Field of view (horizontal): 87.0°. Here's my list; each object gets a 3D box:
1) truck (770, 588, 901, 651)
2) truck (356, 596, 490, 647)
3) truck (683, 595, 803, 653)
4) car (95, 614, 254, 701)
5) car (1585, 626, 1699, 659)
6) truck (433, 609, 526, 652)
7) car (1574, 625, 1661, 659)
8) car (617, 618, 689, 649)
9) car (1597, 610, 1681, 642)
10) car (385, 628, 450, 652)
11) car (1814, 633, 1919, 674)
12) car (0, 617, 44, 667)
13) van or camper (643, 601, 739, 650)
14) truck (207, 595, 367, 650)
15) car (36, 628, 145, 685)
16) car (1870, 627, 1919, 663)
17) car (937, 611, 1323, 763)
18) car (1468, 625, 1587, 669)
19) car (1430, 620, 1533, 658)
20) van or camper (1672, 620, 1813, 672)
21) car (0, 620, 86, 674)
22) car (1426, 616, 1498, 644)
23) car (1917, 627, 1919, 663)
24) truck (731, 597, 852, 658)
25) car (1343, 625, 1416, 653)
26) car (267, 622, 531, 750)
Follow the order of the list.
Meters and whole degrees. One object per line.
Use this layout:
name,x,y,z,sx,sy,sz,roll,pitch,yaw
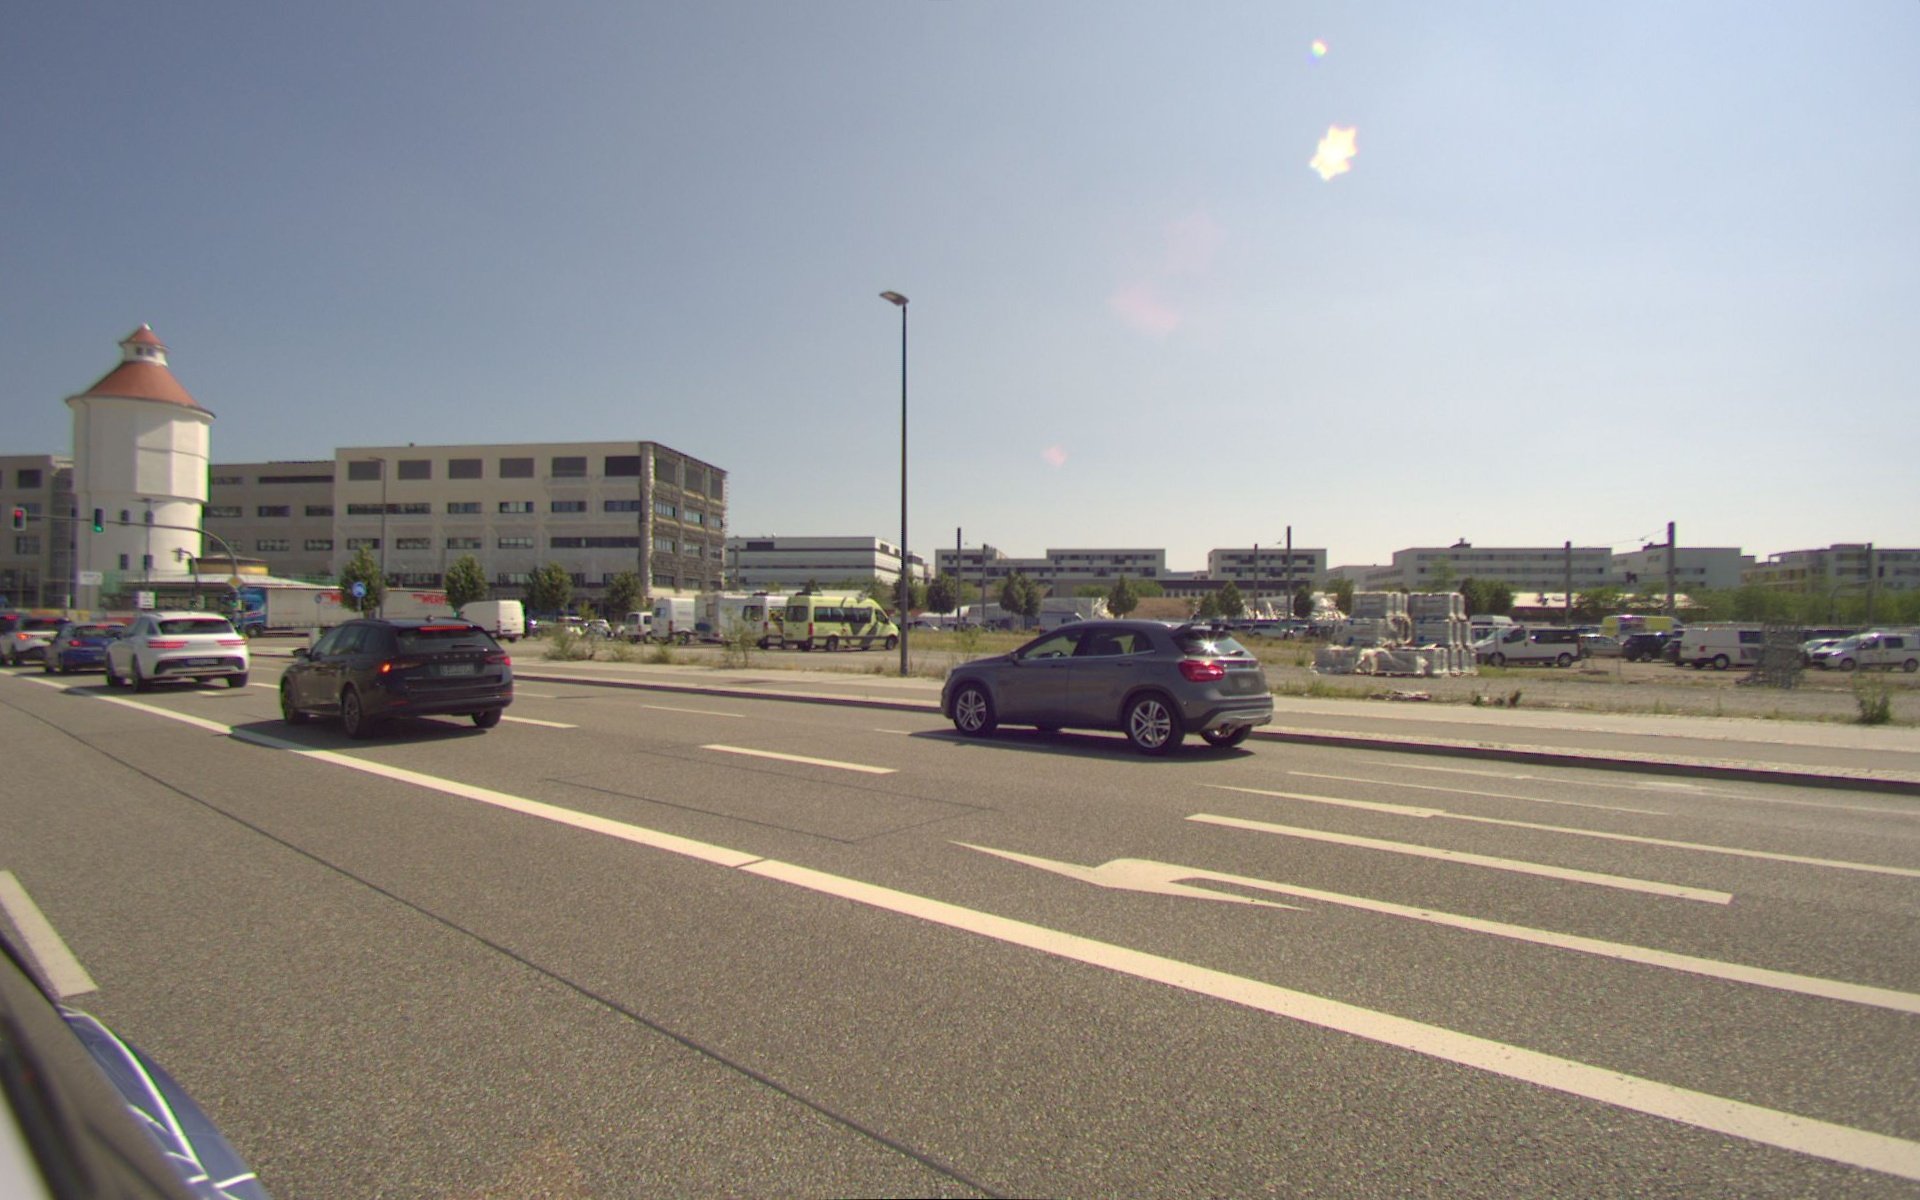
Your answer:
truck,-6.001,0.924,49.732,2.598,2.847,6.575,-1,-1,37
truck,-49.251,1.835,93.261,3.331,4.307,10.840,0,1,29
truck,-11.767,1.223,55.314,2.570,2.923,6.080,0,1,42
car,-17.286,1.175,22.191,4.729,1.662,1.893,-1,0,42
car,41.259,2.560,61.347,5.335,1.985,1.994,0,-1,9
truck,-30.630,1.912,64.523,5.914,2.675,2.154,0,-2,26
car,40.407,2.588,62.256,3.953,2.029,1.995,0,-2,8
car,-18.063,1.952,59.685,1.655,1.771,3.829,-2,-1,37
car,43.999,1.714,65.661,3.952,2.029,1.996,0,-2,7
car,-40.664,2.956,75.967,1.871,1.652,3.964,-1,-1,26
car,43.256,2.505,47.753,3.955,1.896,1.994,0,-2,9
car,-36.874,1.612,38.785,4.650,1.802,1.920,-2,-1,39
van or camper,-15.290,1.432,57.727,2.258,2.682,4.849,-2,-1,41
truck,-54.593,1.669,82.612,3.281,4.098,10.895,0,1,23
car,-24.501,1.530,28.478,4.280,1.432,1.767,-1,-1,42
car,57.534,2.670,60.617,3.959,2.029,1.992,-1,-1,12
car,1.892,0.939,12.325,1.880,1.507,4.390,2,-3,-44
car,27.668,2.276,49.513,4.601,2.029,1.994,0,-2,9
car,28.624,2.127,55.696,4.601,1.985,1.994,0,-2,9
van or camper,37.090,2.134,48.093,4.881,2.301,1.994,1,0,10
car,-30.776,1.557,33.756,4.094,1.695,1.761,-2,-2,39
car,37.274,2.222,75.228,4.431,1.985,1.834,0,-2,9
car,55.360,2.464,55.271,3.959,2.029,1.992,-1,-1,12
truck,-8.524,1.303,51.549,2.570,2.845,5.773,0,1,42
car,31.101,2.907,75.150,4.601,1.985,1.994,-1,-1,9
car,-7.673,1.029,13.629,4.571,1.409,1.768,-1,-1,43
